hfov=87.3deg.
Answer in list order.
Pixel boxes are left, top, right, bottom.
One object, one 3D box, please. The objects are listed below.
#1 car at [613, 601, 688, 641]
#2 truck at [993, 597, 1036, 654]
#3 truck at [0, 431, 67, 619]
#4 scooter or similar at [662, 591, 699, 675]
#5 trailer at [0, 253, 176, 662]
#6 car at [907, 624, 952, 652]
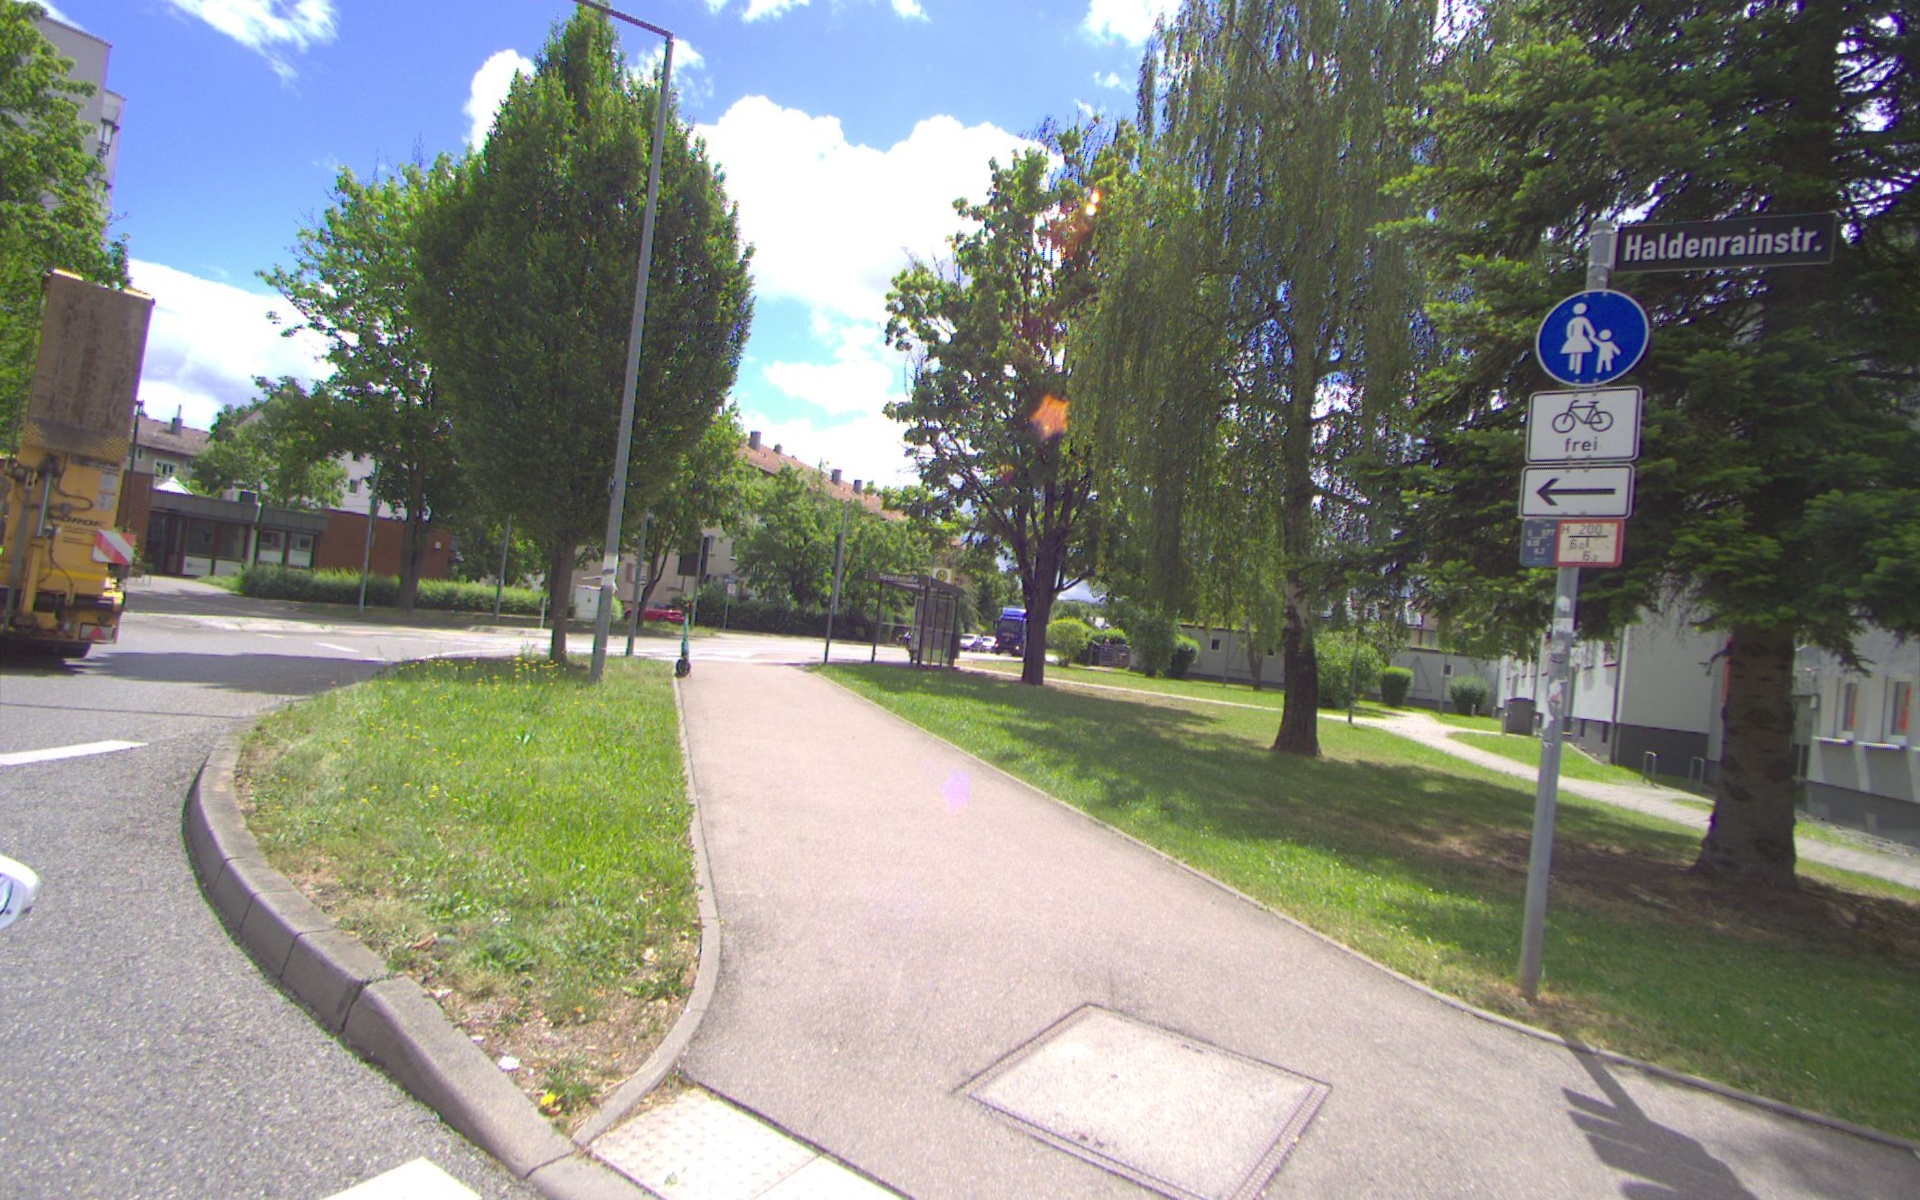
[{"bbox_3d":[-19.328,1.331,62.882,3.926,1.963,2.020,6,-3,22],"label":"car"},{"bbox_3d":[4.690,2.260,84.917,2.736,4.200,9.811,6,-2,6],"label":"truck"},{"bbox_3d":[-20.063,-1.699,16.642,8.323,3.071,3.000,6,-1,7],"label":"truck"},{"bbox_3d":[-4.871,0.554,17.550,0.478,1.360,1.384,6,0,-15],"label":"scooter or similar"},{"bbox_3d":[-12.248,-1.509,12.216,2.858,3.410,10.710,9,-4,-44],"label":"trailer"},{"bbox_3d":[-2.158,2.747,72.342,1.962,1.570,4.006,6,-3,17],"label":"car"}]
